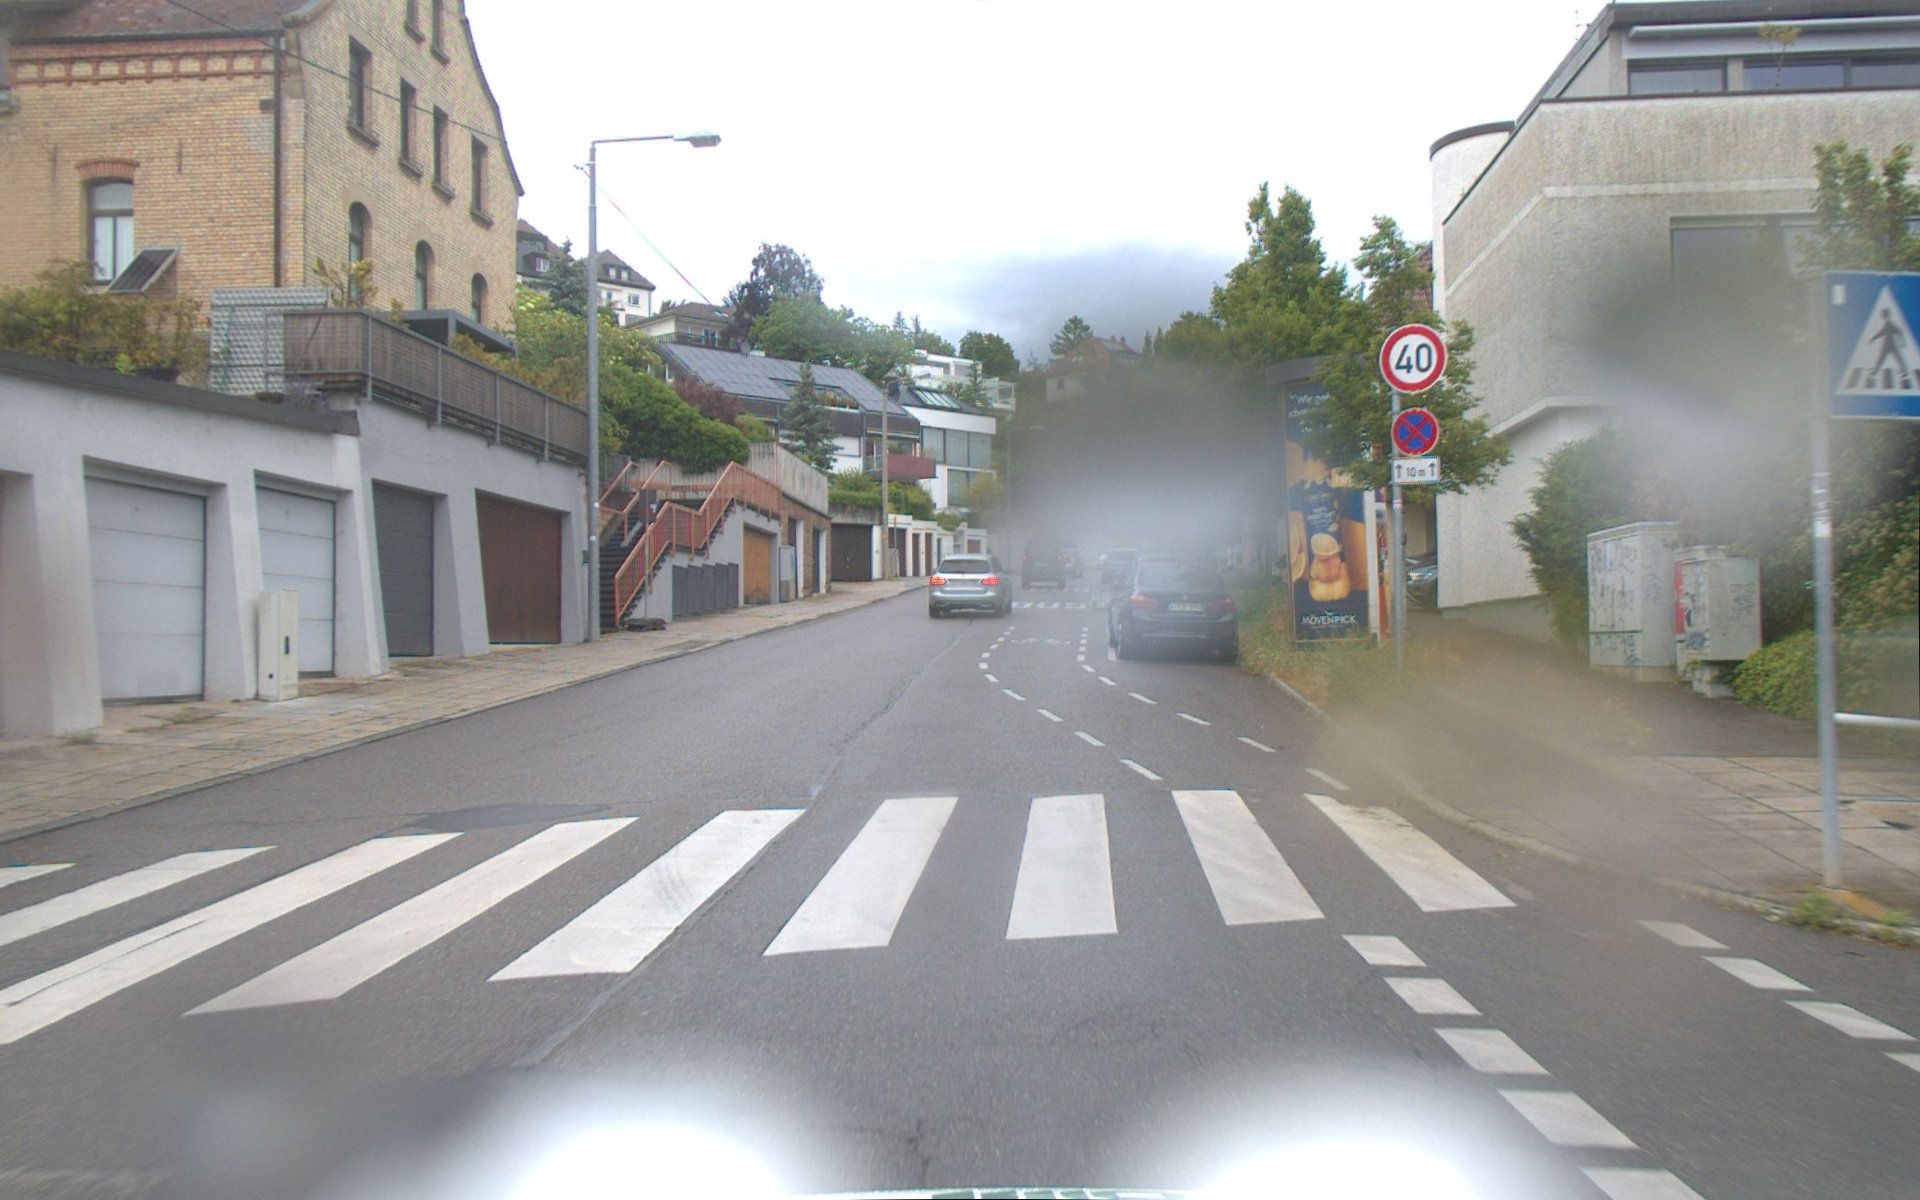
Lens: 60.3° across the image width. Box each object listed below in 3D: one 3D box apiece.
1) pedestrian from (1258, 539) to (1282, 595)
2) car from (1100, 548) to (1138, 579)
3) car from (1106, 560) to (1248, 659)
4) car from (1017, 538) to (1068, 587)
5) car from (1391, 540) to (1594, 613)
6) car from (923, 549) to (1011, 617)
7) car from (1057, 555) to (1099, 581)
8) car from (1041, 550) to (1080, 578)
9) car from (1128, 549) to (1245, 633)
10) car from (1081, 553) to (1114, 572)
[{"bbox_3d":[10.204,-1.103,54.454,0.625,1.826,0.745,0,1,2],"label":"pedestrian"},{"bbox_3d":[6.913,-1.589,71.666,1.437,1.276,3.586,1,1,8],"label":"car"},{"bbox_3d":[3.297,0.077,25.868,1.734,1.401,4.350,0,1,1],"label":"car"},{"bbox_3d":[3.257,-1.480,64.752,1.785,1.850,4.003,0,1,6],"label":"car"},{"bbox_3d":[11.060,-0.499,34.418,3.904,1.439,1.726,1,1,19],"label":"car"},{"bbox_3d":[0.212,-0.443,39.294,1.773,1.384,4.003,2,3,4],"label":"car"},{"bbox_3d":[7.626,-2.063,106.818,1.693,1.634,3.548,1,1,22],"label":"car"},{"bbox_3d":[4.939,-1.782,81.052,1.785,1.319,4.003,0,1,5],"label":"car"},{"bbox_3d":[4.172,-0.204,30.917,1.680,1.475,3.834,0,1,0],"label":"car"},{"bbox_3d":[9.641,-2.629,115.756,1.785,1.319,4.004,1,1,12],"label":"car"}]
